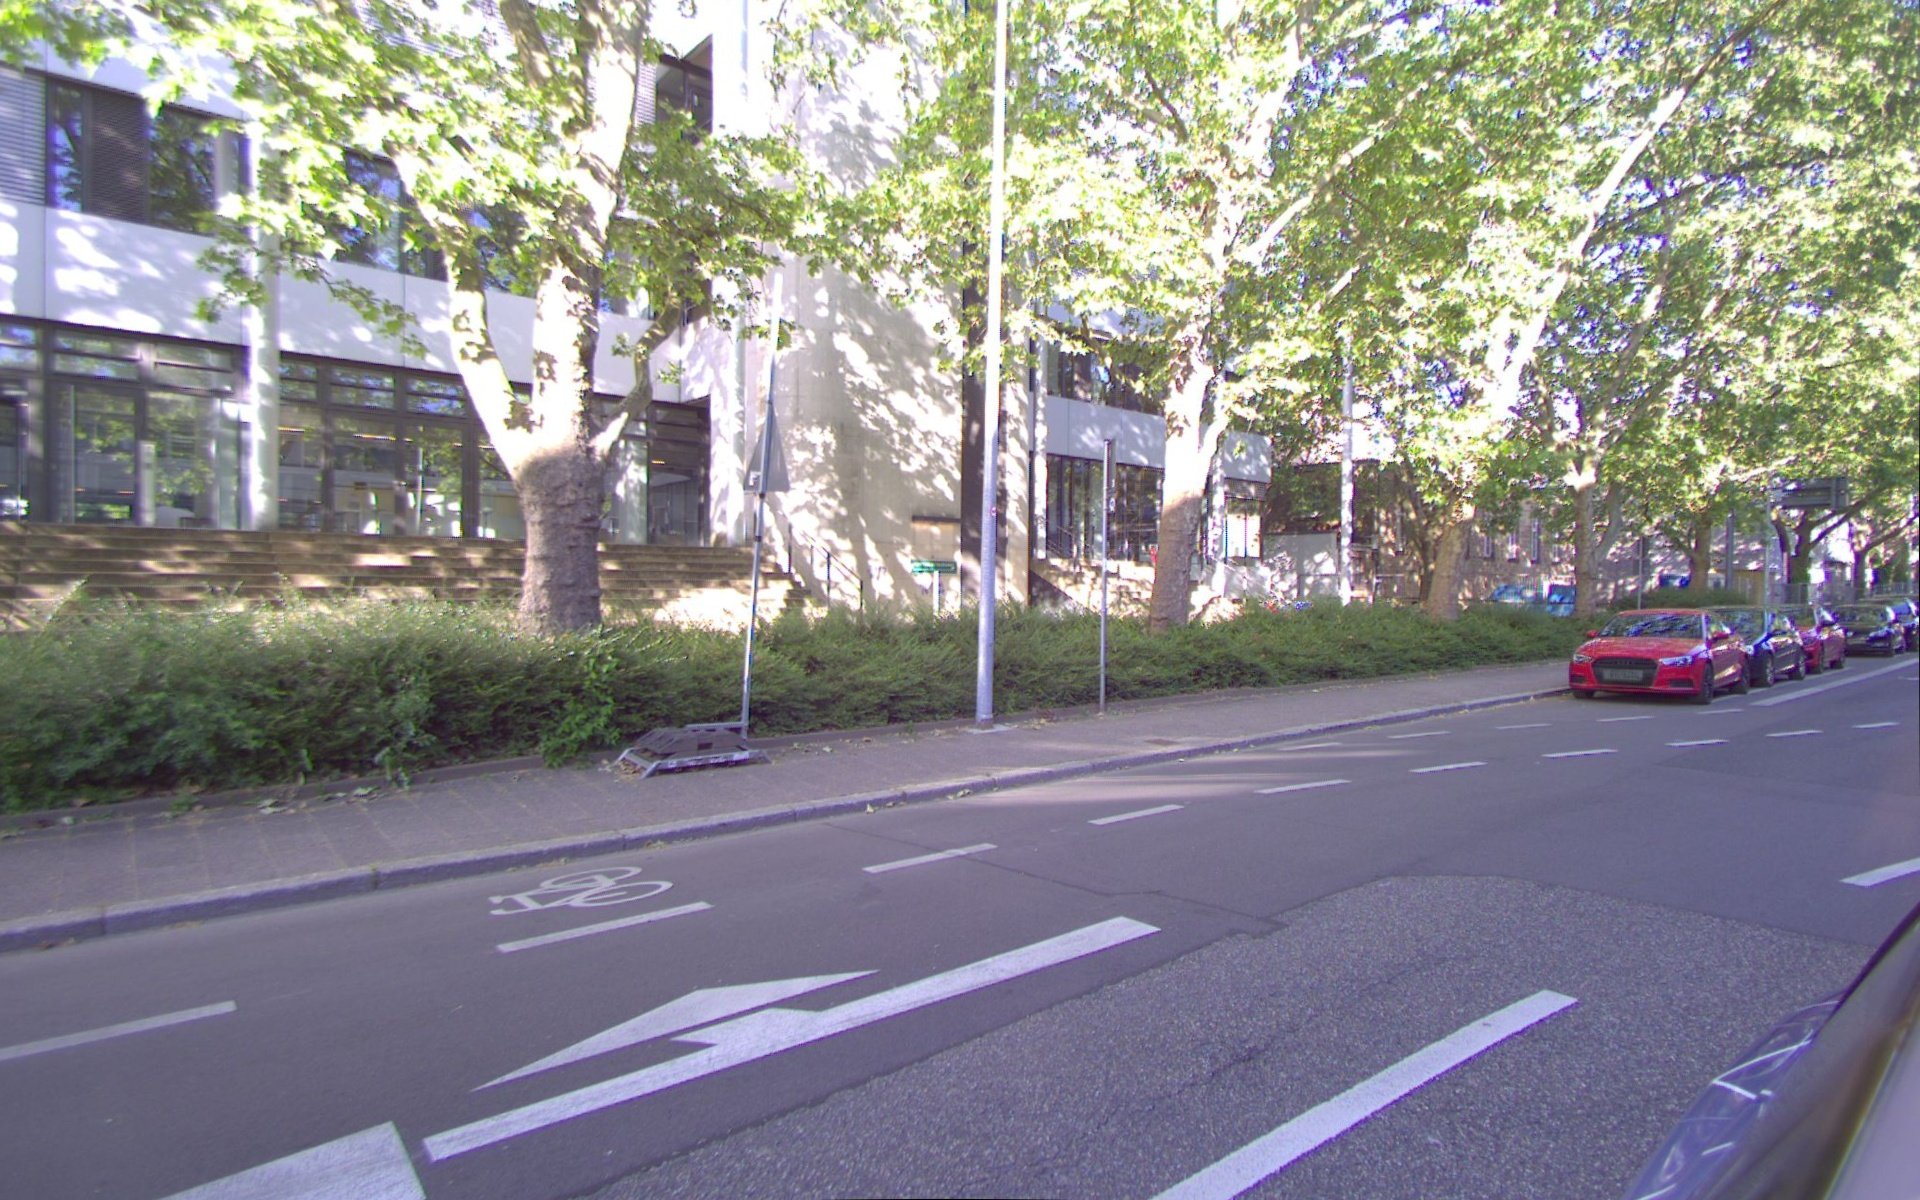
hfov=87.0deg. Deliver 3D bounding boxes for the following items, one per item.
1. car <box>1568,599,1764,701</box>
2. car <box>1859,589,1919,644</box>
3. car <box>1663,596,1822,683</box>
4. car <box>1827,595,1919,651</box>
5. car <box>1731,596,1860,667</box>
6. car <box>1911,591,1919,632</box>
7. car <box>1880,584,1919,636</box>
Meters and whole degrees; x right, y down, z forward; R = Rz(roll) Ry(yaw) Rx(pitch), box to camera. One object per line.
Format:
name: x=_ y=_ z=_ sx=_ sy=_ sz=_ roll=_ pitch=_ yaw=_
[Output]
car: x=11.420 y=0.730 z=16.276 sx=3.962 sy=1.439 sz=1.722 roll=0 pitch=-1 yaw=-42
car: x=29.688 y=0.470 z=31.813 sx=3.770 sy=1.640 sz=1.684 roll=0 pitch=1 yaw=-41
car: x=14.984 y=0.673 z=19.303 sx=3.930 sy=1.485 sz=1.684 roll=0 pitch=0 yaw=-41
car: x=26.187 y=0.607 z=28.859 sx=3.930 sy=1.469 sz=1.684 roll=0 pitch=1 yaw=-41
car: x=18.785 y=0.638 z=22.698 sx=3.715 sy=1.452 sz=1.664 roll=0 pitch=1 yaw=-41
car: x=38.879 y=0.443 z=39.887 sx=3.801 sy=1.581 sz=1.684 roll=0 pitch=1 yaw=-41
car: x=34.142 y=0.330 z=35.869 sx=4.354 sy=1.790 sz=1.818 roll=0 pitch=1 yaw=-41
